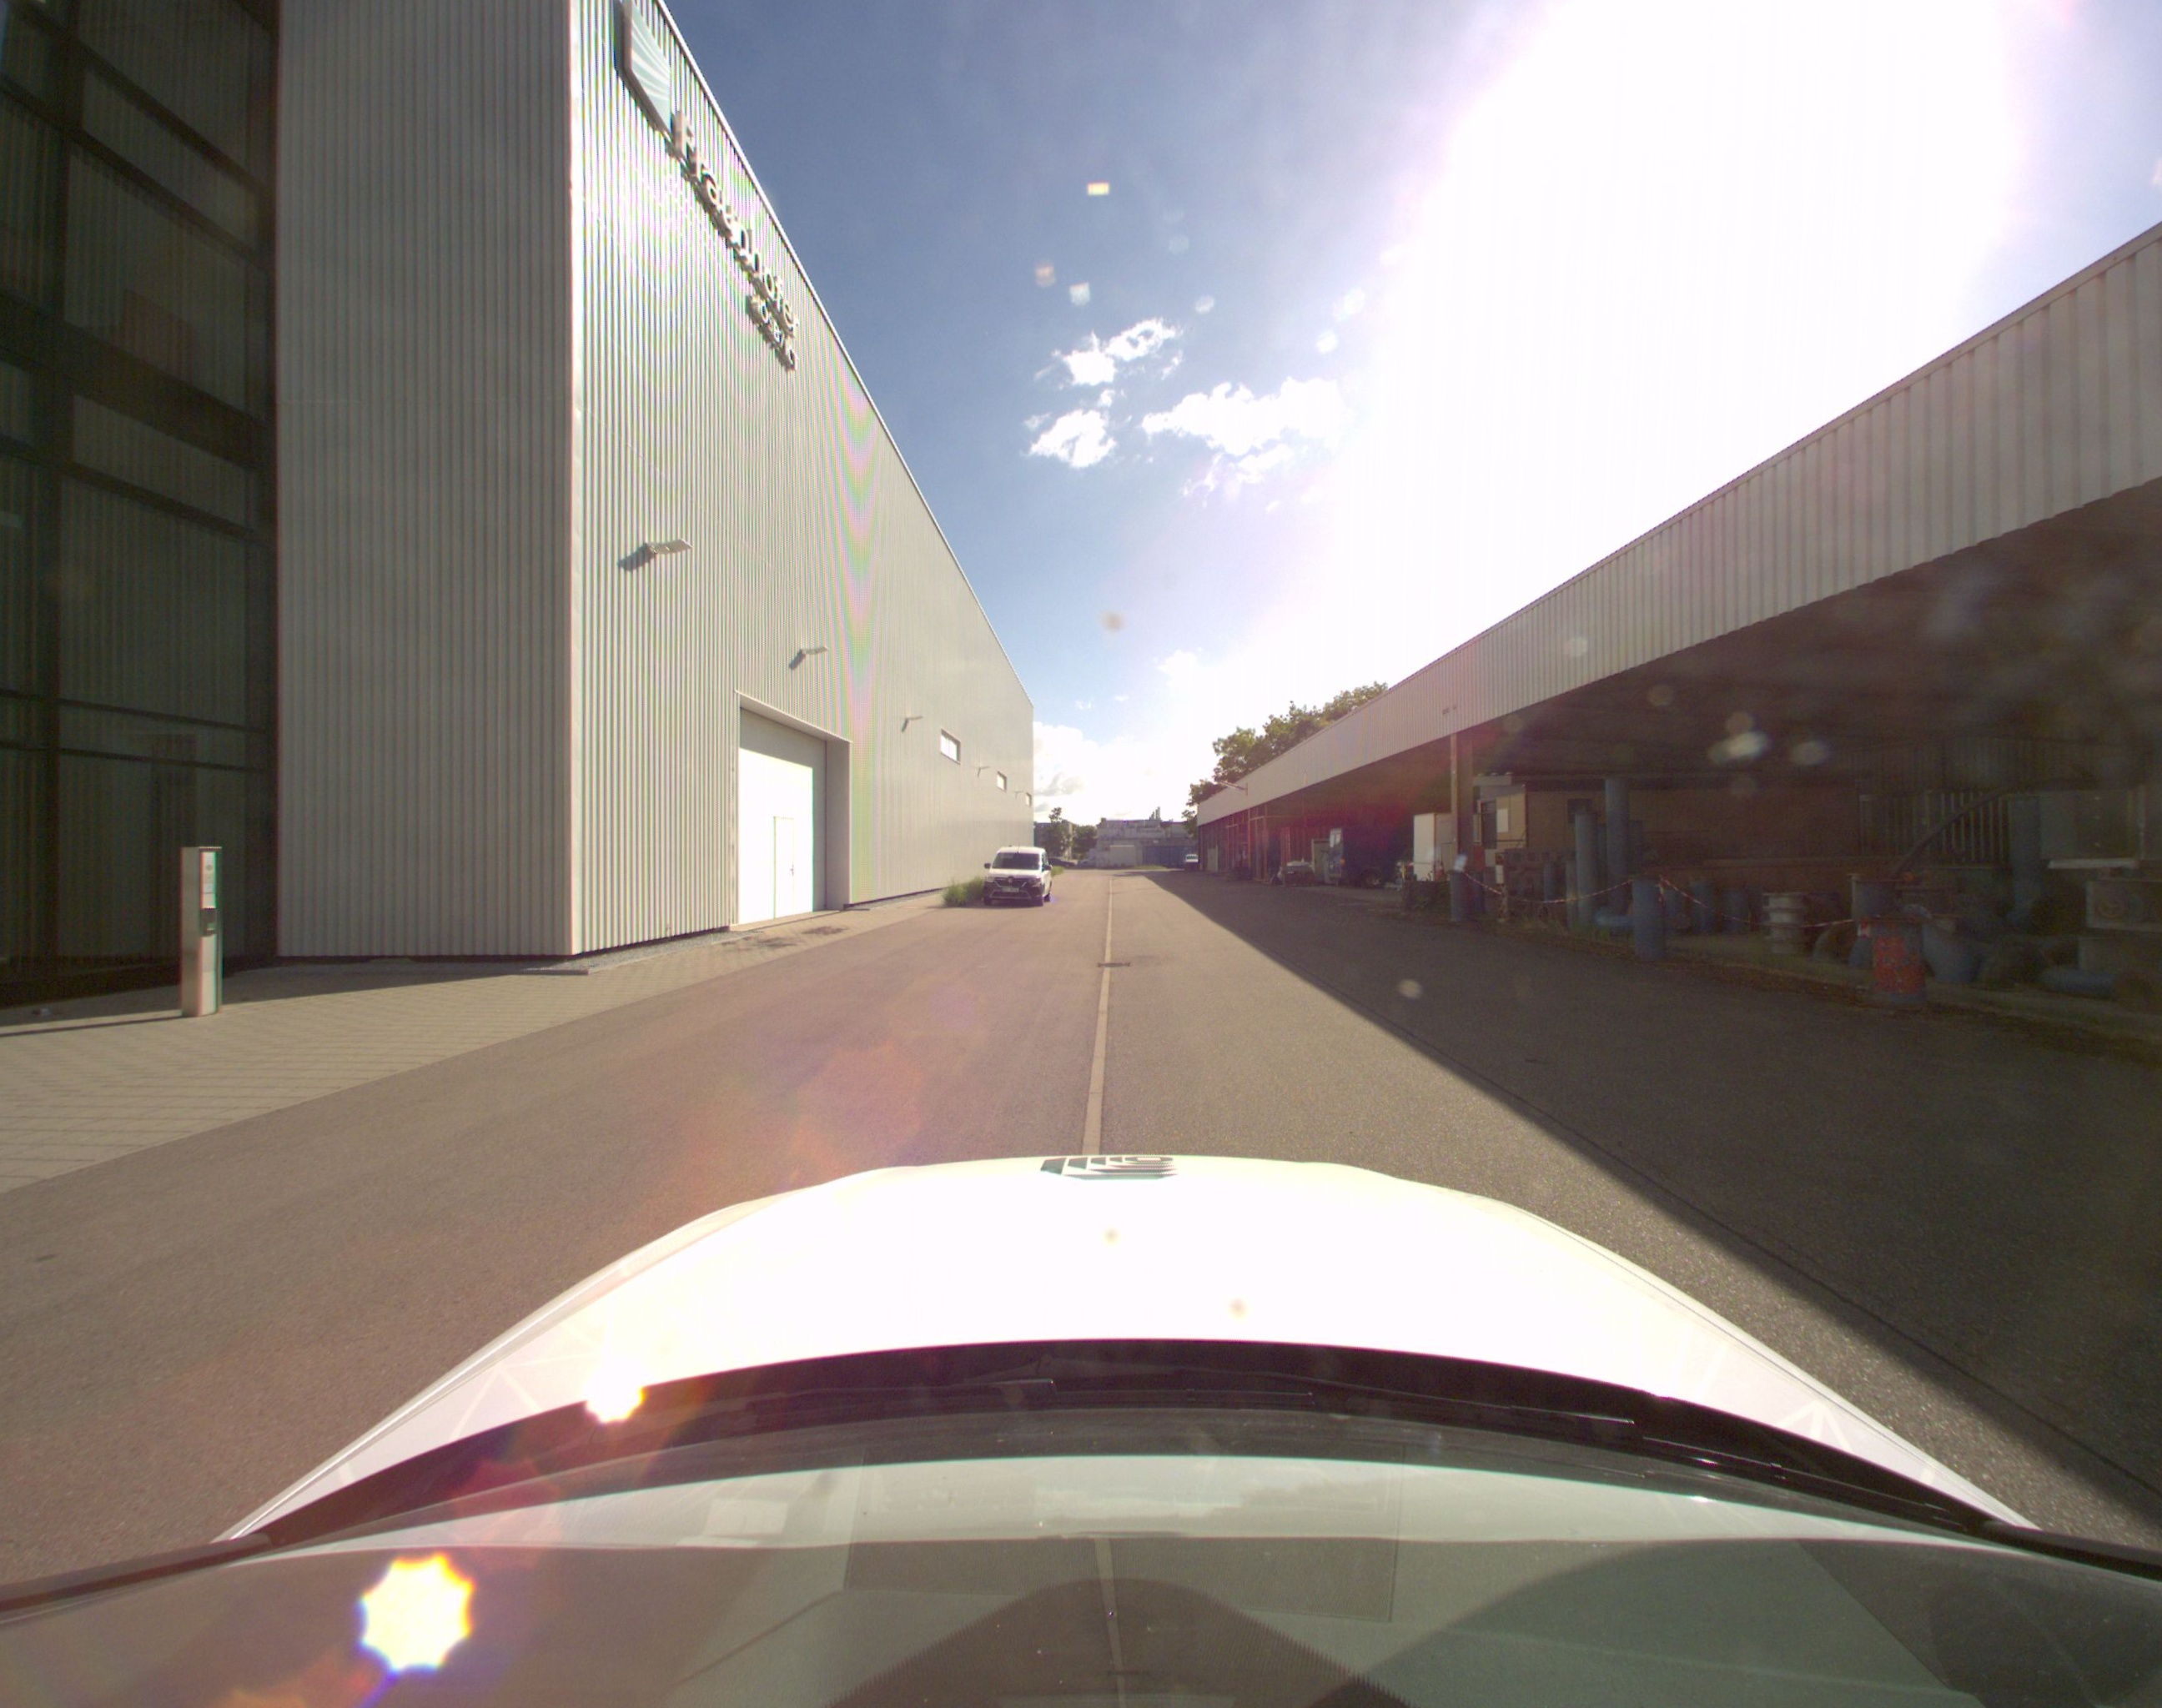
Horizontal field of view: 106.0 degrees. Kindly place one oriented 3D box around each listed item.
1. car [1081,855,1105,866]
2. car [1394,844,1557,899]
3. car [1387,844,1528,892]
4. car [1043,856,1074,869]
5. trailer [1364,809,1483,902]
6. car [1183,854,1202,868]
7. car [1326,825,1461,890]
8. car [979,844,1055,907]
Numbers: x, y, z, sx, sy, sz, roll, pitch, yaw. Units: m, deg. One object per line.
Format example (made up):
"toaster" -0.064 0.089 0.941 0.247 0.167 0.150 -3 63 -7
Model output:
"car" 1.951 1.090 135.838 3.973 1.598 1.848 1 -2 1
"car" 11.620 0.530 24.178 4.021 1.525 1.685 1 -2 3
"car" 12.676 0.477 27.575 4.021 1.525 1.685 1 -2 3
"car" -2.959 1.120 108.070 3.973 1.598 1.741 1 -2 1
"trailer" 9.175 0.060 21.983 2.513 2.399 1.728 -1 -1 3
"car" 12.982 0.836 95.195 1.953 1.564 4.063 1 0 4
"car" 11.690 0.165 30.705 4.414 2.310 1.916 1 -2 3
"car" -1.916 0.625 25.753 1.811 1.787 4.408 1 0 3
